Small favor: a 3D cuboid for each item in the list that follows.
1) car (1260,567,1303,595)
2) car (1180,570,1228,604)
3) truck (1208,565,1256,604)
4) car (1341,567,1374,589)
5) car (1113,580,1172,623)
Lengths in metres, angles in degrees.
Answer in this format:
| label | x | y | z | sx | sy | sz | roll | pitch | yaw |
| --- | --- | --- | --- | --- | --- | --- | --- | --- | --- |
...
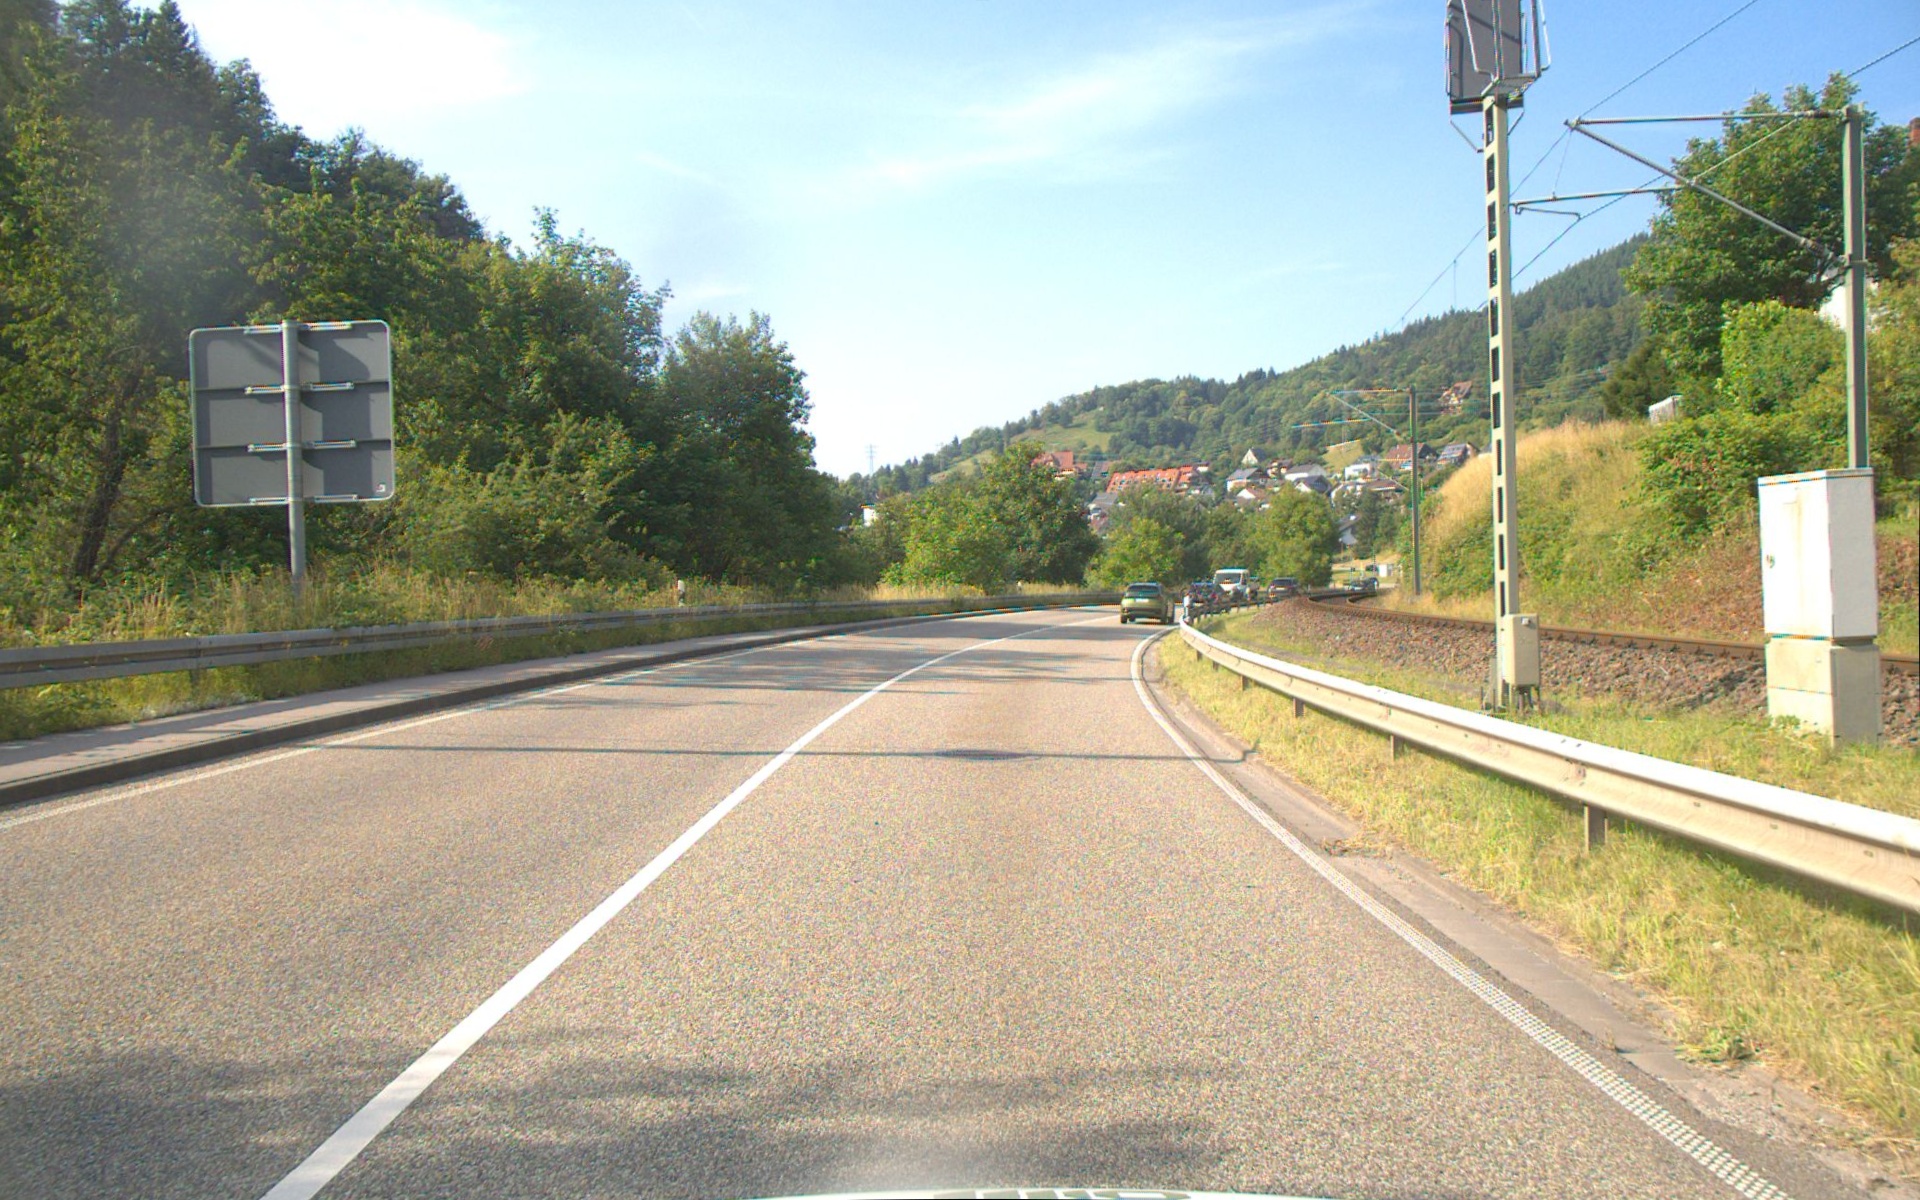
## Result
| label | x | y | z | sx | sy | sz | roll | pitch | yaw |
| --- | --- | --- | --- | --- | --- | --- | --- | --- | --- |
| car | 20.629 | -1.231 | 106.028 | 1.842 | 1.716 | 4.000 | -2 | 0 | 23 |
| car | 11.790 | -0.628 | 79.803 | 1.632 | 1.586 | 4.002 | 0 | 1 | 18 |
| truck | 18.145 | -1.042 | 110.048 | 2.112 | 2.407 | 6.749 | 2 | 1 | 18 |
| car | 31.122 | -1.726 | 129.479 | 1.812 | 1.553 | 3.661 | -2 | 0 | 24 |
| car | 6.840 | 0.023 | 61.708 | 1.678 | 1.480 | 4.004 | 2 | 1 | 13 |
